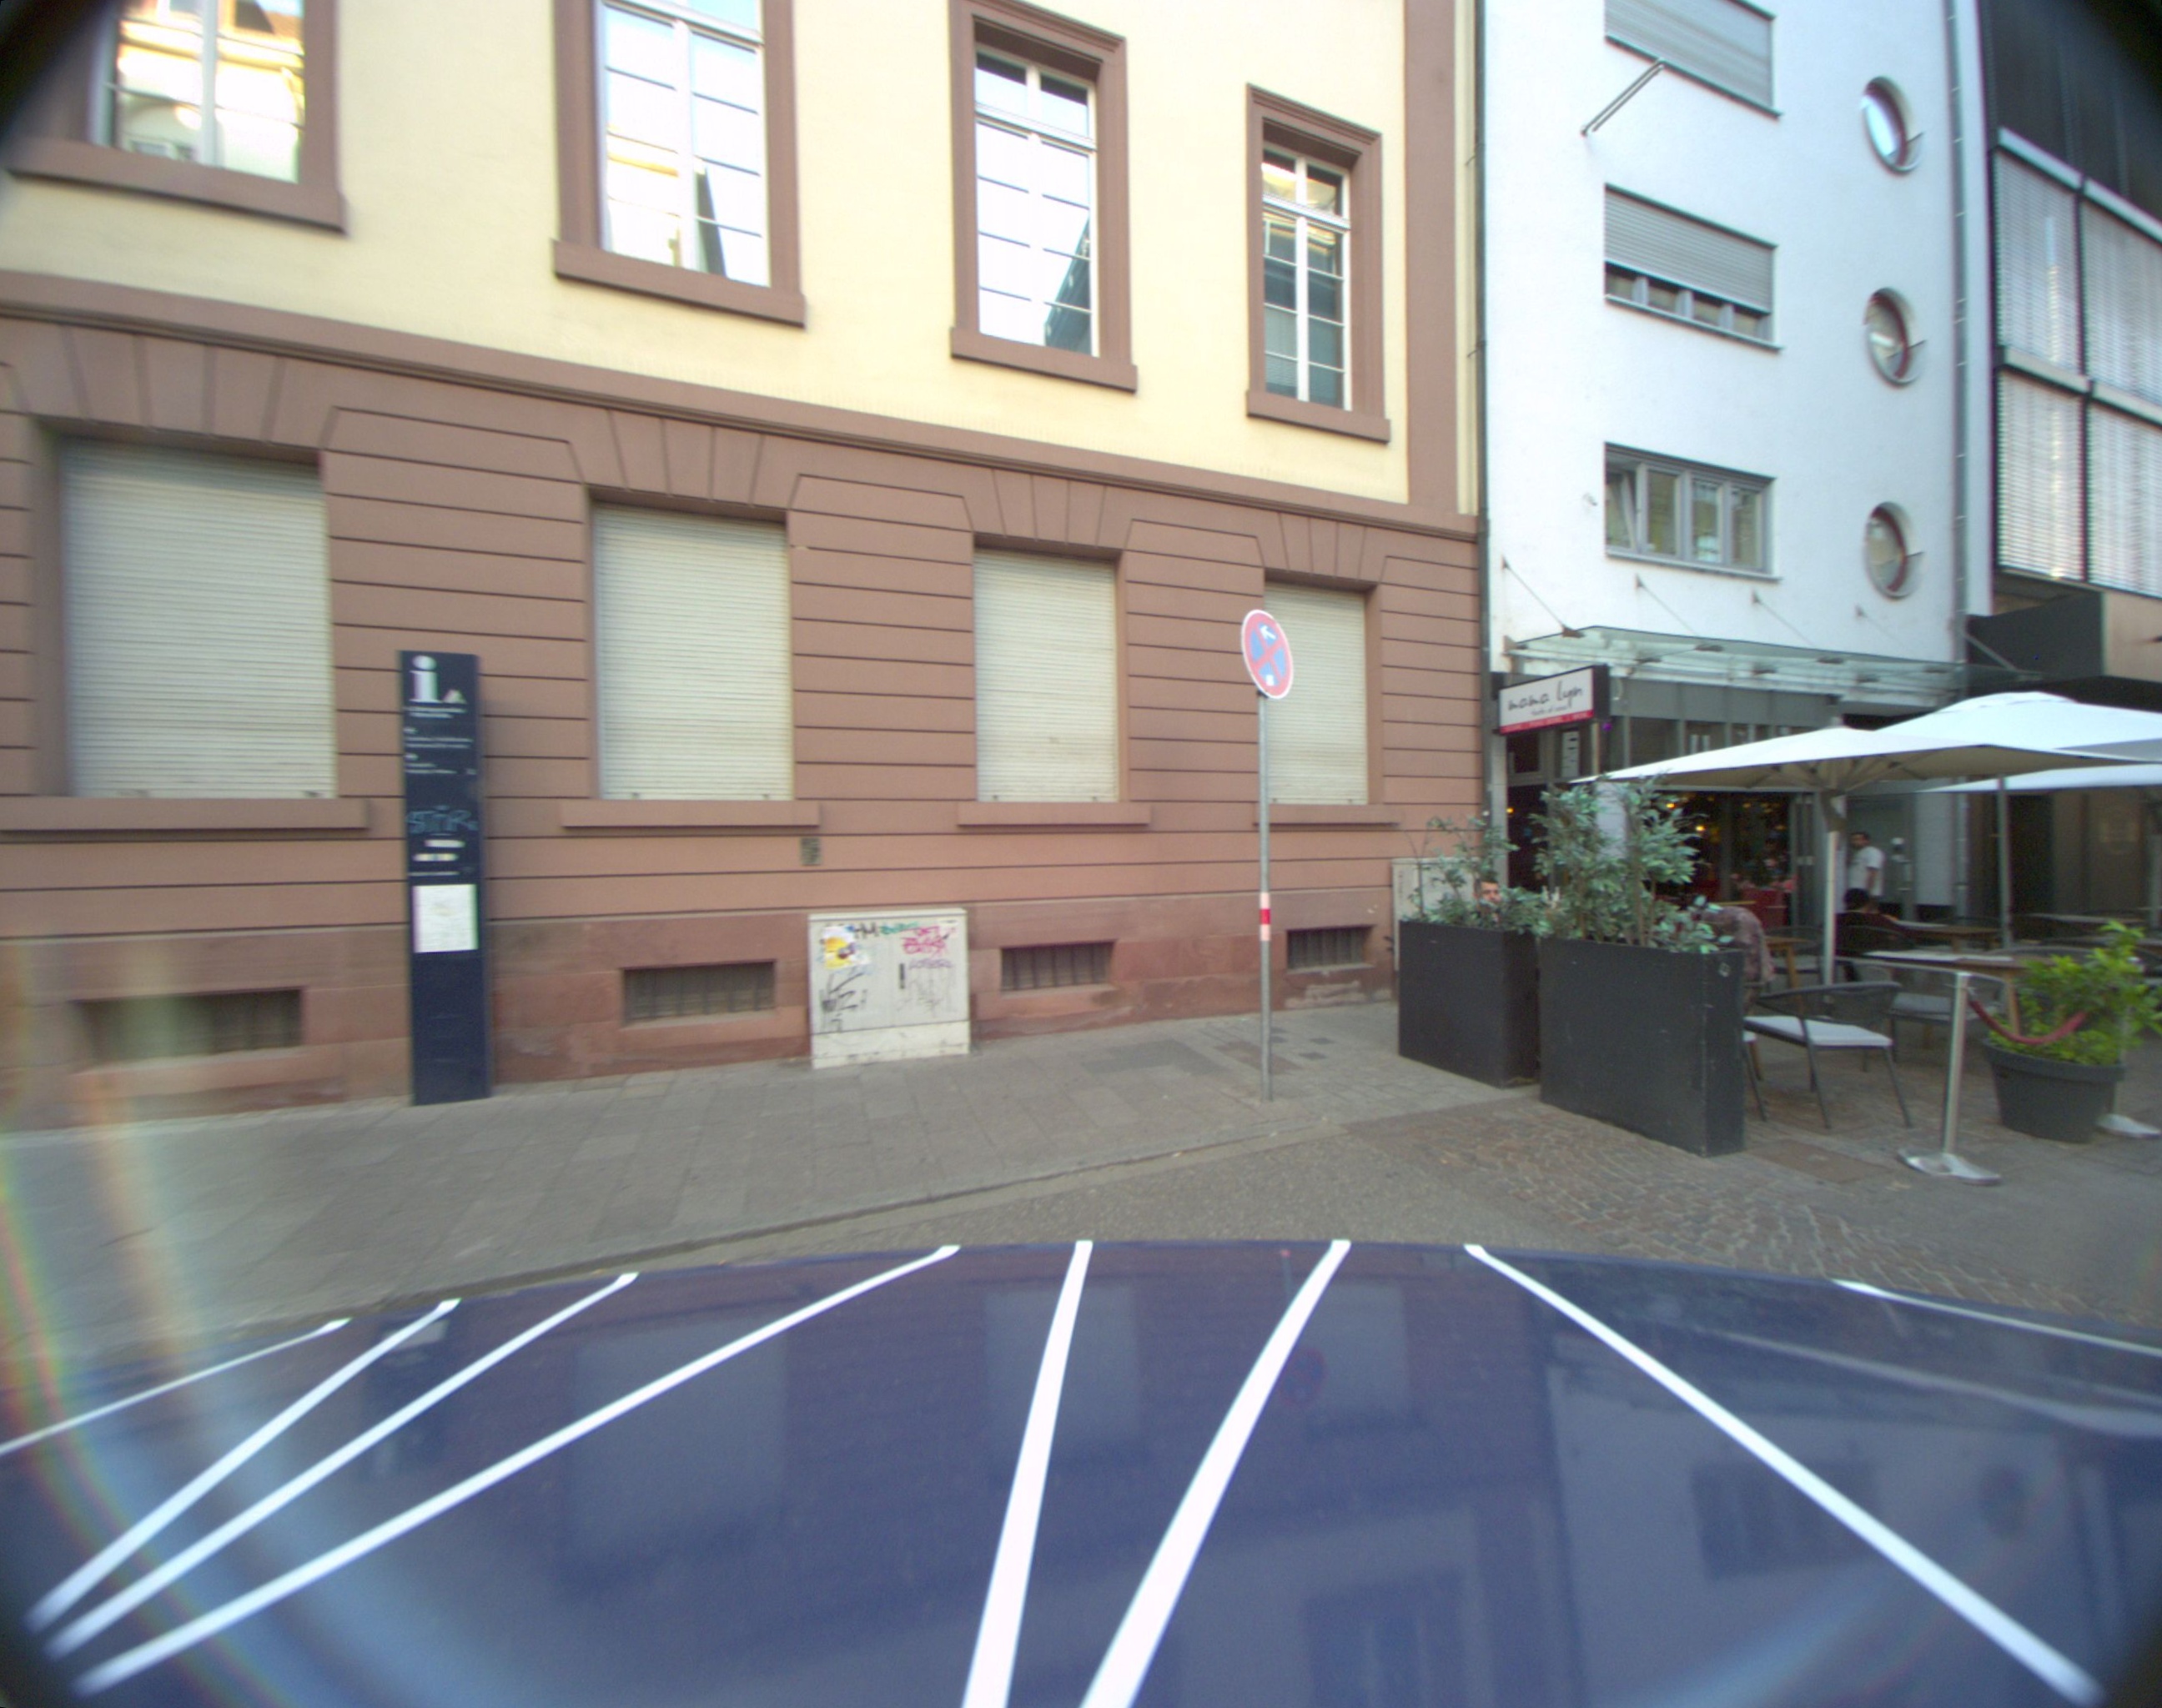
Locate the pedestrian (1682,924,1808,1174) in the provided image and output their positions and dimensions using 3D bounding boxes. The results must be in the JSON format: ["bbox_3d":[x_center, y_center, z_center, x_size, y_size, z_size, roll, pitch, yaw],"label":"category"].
[{"bbox_3d":[3.563,1.003,4.083,0.384,1.206,0.399,-1,1,-29],"label":"pedestrian"}]

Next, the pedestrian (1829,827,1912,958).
[{"bbox_3d":[10.987,0.513,10.581,0.603,1.762,0.639,-1,1,-24],"label":"pedestrian"}]

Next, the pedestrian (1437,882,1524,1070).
[{"bbox_3d":[2.954,0.868,5.616,0.496,1.298,0.362,-1,1,-33],"label":"pedestrian"}]

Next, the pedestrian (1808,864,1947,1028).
[{"bbox_3d":[7.407,0.815,7.077,0.869,1.412,0.575,-1,1,-18],"label":"pedestrian"}]
